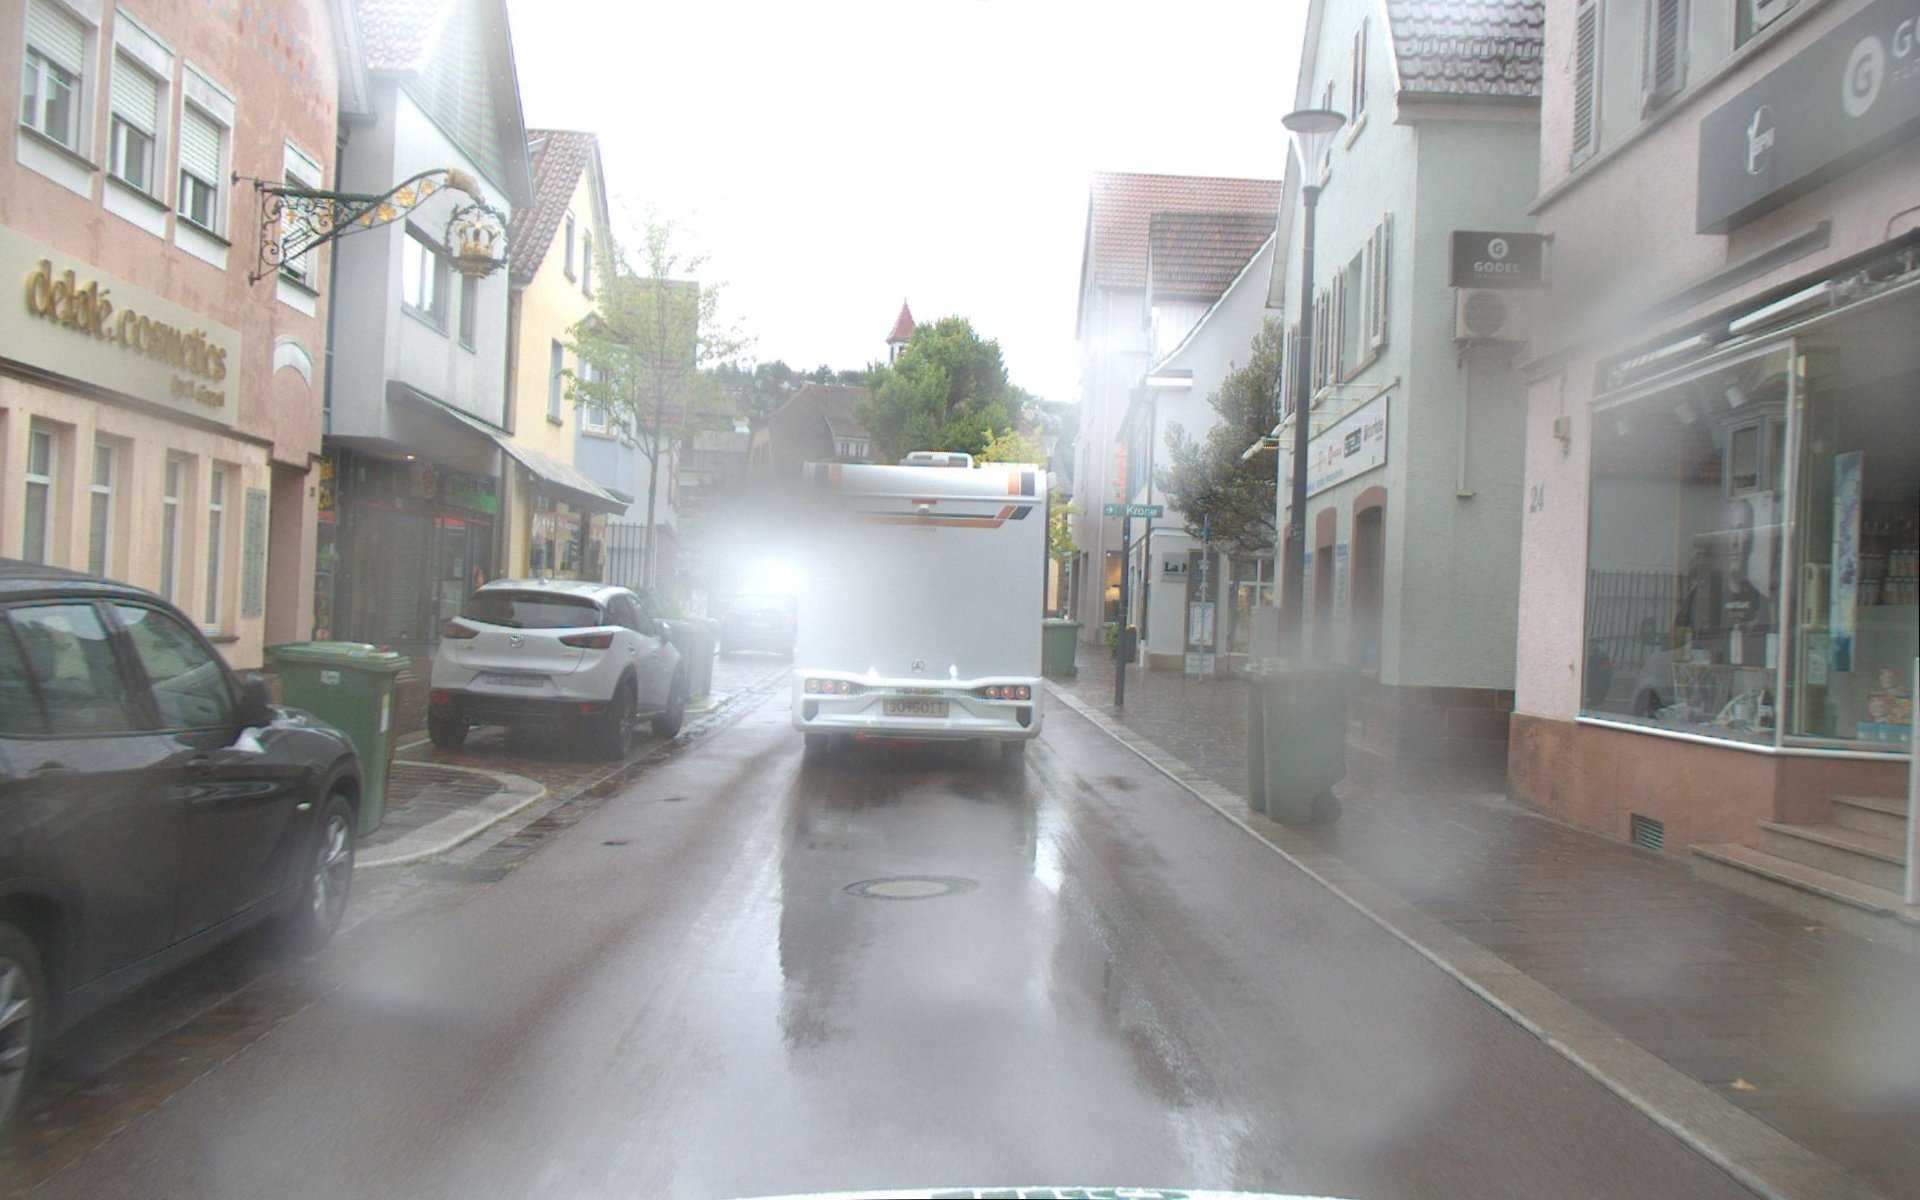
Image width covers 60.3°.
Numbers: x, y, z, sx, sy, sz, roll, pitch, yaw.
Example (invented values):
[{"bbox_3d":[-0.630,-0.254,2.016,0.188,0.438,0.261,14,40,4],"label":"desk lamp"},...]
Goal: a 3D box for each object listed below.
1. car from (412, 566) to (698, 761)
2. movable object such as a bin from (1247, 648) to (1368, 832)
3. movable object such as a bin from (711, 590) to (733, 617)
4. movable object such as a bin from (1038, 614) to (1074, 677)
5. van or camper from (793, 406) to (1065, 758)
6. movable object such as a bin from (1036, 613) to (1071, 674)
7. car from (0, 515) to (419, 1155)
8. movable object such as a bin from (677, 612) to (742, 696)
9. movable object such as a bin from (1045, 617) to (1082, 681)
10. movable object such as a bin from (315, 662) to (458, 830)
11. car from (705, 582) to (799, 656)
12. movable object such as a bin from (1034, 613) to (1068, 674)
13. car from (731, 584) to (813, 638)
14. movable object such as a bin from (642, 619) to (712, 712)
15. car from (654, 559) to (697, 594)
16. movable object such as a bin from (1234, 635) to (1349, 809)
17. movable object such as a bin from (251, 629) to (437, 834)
[{"bbox_3d":[-3.747,0.570,16.024,1.790,1.594,3.999,2,-1,-1],"label":"car"},{"bbox_3d":[2.416,0.962,11.544,0.704,1.222,0.573,2,-1,0],"label":"movable object such as a bin"},{"bbox_3d":[-9.759,0.154,67.818,0.805,1.069,0.696,2,-1,-17],"label":"movable object such as a bin"},{"bbox_3d":[1.989,0.946,34.413,0.664,1.278,0.542,2,-1,-2],"label":"movable object such as a bin"},{"bbox_3d":[-0.482,-0.103,17.482,2.280,2.970,6.387,2,-1,-4],"label":"van or camper"},{"bbox_3d":[1.976,0.923,34.978,0.664,1.254,0.564,2,-1,-2],"label":"movable object such as a bin"},{"bbox_3d":[-3.298,0.576,5.326,1.796,1.579,4.279,2,-1,-2],"label":"car"},{"bbox_3d":[-3.565,0.770,23.623,0.799,1.125,0.609,5,-2,-6],"label":"movable object such as a bin"},{"bbox_3d":[2.079,0.980,33.274,0.645,1.260,0.621,2,-1,-2],"label":"movable object such as a bin"},{"bbox_3d":[-3.518,0.885,10.184,0.643,0.972,0.562,2,-1,1],"label":"movable object such as a bin"},{"bbox_3d":[-4.733,0.399,37.748,1.956,1.497,3.994,3,0,-7],"label":"car"},{"bbox_3d":[1.957,0.935,35.553,0.664,1.272,0.564,2,-1,-2],"label":"movable object such as a bin"},{"bbox_3d":[-6.048,0.318,52.765,1.961,1.520,3.984,3,0,-15],"label":"car"},{"bbox_3d":[-3.567,0.820,20.895,0.799,1.125,0.609,2,-1,-6],"label":"movable object such as a bin"},{"bbox_3d":[-17.800,-1.447,103.241,1.964,2.049,3.977,2,-1,-19],"label":"car"},{"bbox_3d":[2.423,0.880,12.128,0.704,1.222,0.578,2,-1,0],"label":"movable object such as a bin"},{"bbox_3d":[-3.511,0.729,9.481,0.732,1.101,0.763,2,-1,1],"label":"movable object such as a bin"}]
